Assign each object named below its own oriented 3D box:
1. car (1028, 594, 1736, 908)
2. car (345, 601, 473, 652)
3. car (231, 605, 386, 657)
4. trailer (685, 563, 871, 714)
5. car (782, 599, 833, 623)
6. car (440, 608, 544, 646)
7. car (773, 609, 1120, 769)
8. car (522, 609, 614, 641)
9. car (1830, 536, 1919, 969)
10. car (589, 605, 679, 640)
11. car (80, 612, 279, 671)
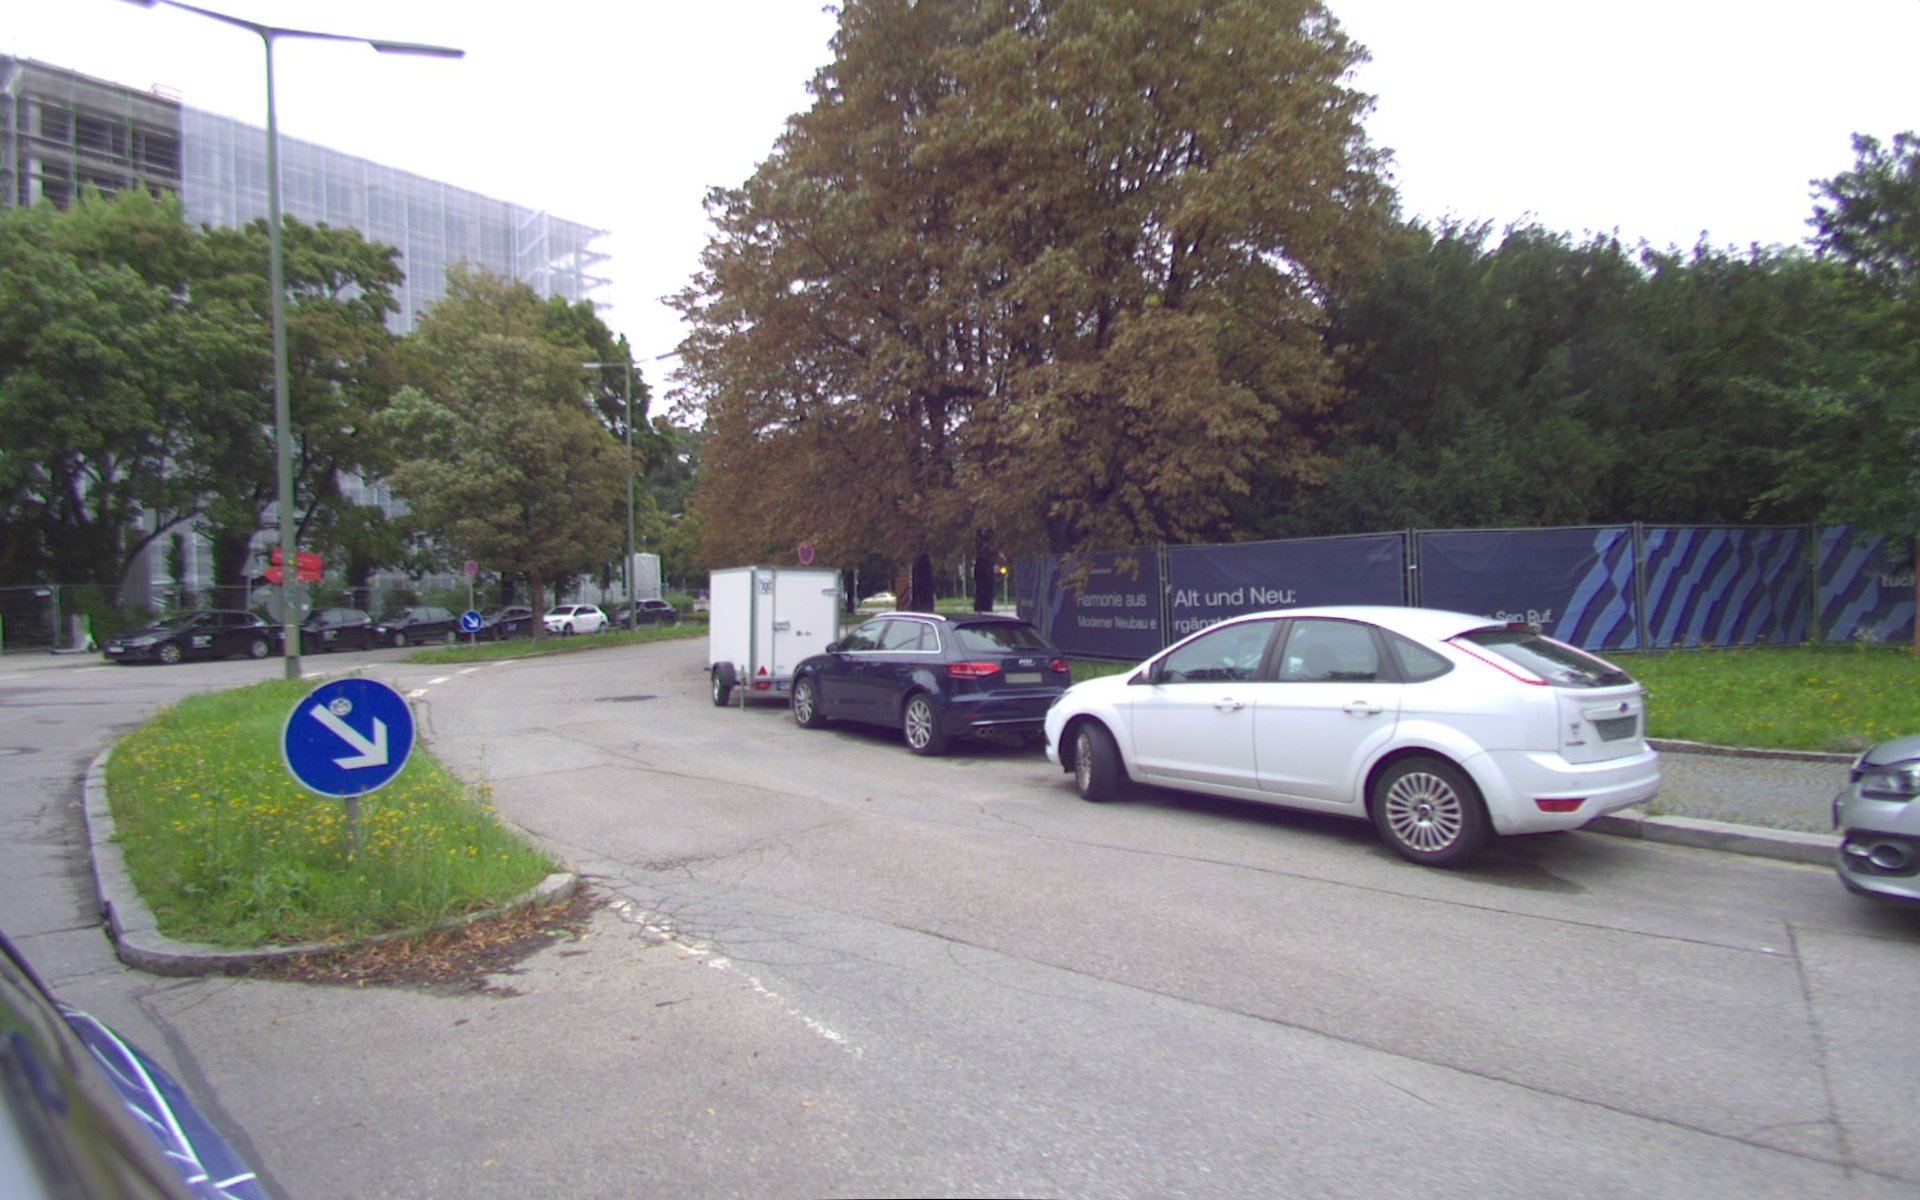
[{"bbox_3d":[2.563,0.767,7.073,1.744,1.497,4.229,-1,-1,-39],"label":"car"},{"bbox_3d":[-19.913,0.927,36.759,1.979,1.719,3.985,1,-1,12],"label":"car"},{"bbox_3d":[-20.576,0.940,32.172,1.978,1.552,3.987,0,0,10],"label":"car"},{"bbox_3d":[-3.097,0.565,16.228,1.783,2.029,4.850,-1,-1,-24],"label":"trailer"},{"bbox_3d":[-13.286,0.924,88.081,4.143,2.029,1.979,-1,-1,32],"label":"car"},{"bbox_3d":[-19.028,1.074,41.328,1.821,1.472,3.990,-2,-1,12],"label":"car"},{"bbox_3d":[-0.368,0.845,11.537,1.847,1.448,4.339,0,-1,-35],"label":"car"},{"bbox_3d":[-17.791,1.113,46.157,1.785,1.394,4.198,-2,-1,14],"label":"car"},{"bbox_3d":[5.939,0.554,3.358,1.971,1.741,4.452,0,-1,-45],"label":"car"},{"bbox_3d":[-16.168,1.140,50.410,1.880,1.618,4.362,-2,-2,23],"label":"car"},{"bbox_3d":[-21.381,1.089,27.951,1.980,1.443,4.026,1,0,12],"label":"car"}]
